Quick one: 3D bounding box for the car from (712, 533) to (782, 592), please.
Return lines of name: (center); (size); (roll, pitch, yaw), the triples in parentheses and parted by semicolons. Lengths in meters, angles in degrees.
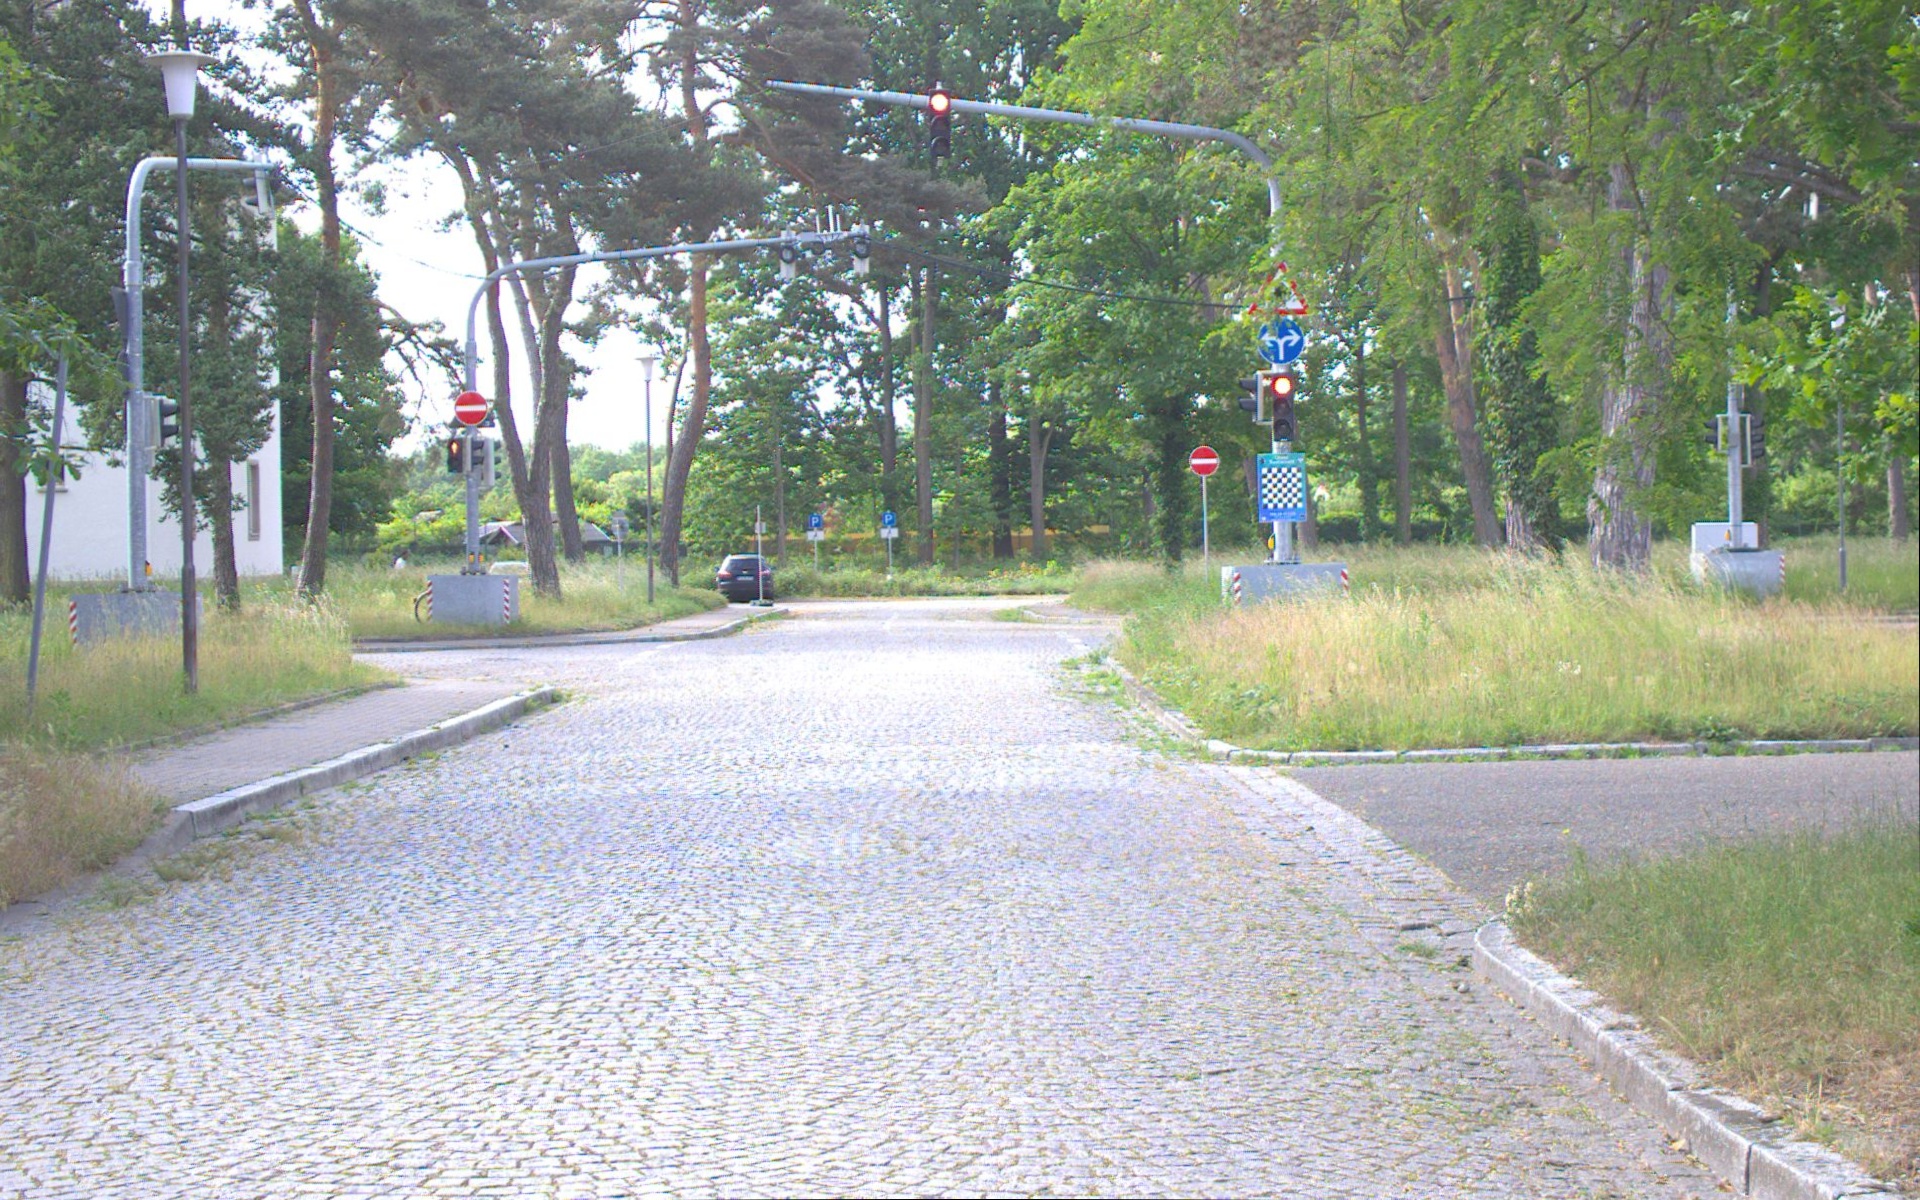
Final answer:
car: (-6.861, -1.227, 110.868); (2.056, 1.840, 4.000); (-1, 1, -1)
